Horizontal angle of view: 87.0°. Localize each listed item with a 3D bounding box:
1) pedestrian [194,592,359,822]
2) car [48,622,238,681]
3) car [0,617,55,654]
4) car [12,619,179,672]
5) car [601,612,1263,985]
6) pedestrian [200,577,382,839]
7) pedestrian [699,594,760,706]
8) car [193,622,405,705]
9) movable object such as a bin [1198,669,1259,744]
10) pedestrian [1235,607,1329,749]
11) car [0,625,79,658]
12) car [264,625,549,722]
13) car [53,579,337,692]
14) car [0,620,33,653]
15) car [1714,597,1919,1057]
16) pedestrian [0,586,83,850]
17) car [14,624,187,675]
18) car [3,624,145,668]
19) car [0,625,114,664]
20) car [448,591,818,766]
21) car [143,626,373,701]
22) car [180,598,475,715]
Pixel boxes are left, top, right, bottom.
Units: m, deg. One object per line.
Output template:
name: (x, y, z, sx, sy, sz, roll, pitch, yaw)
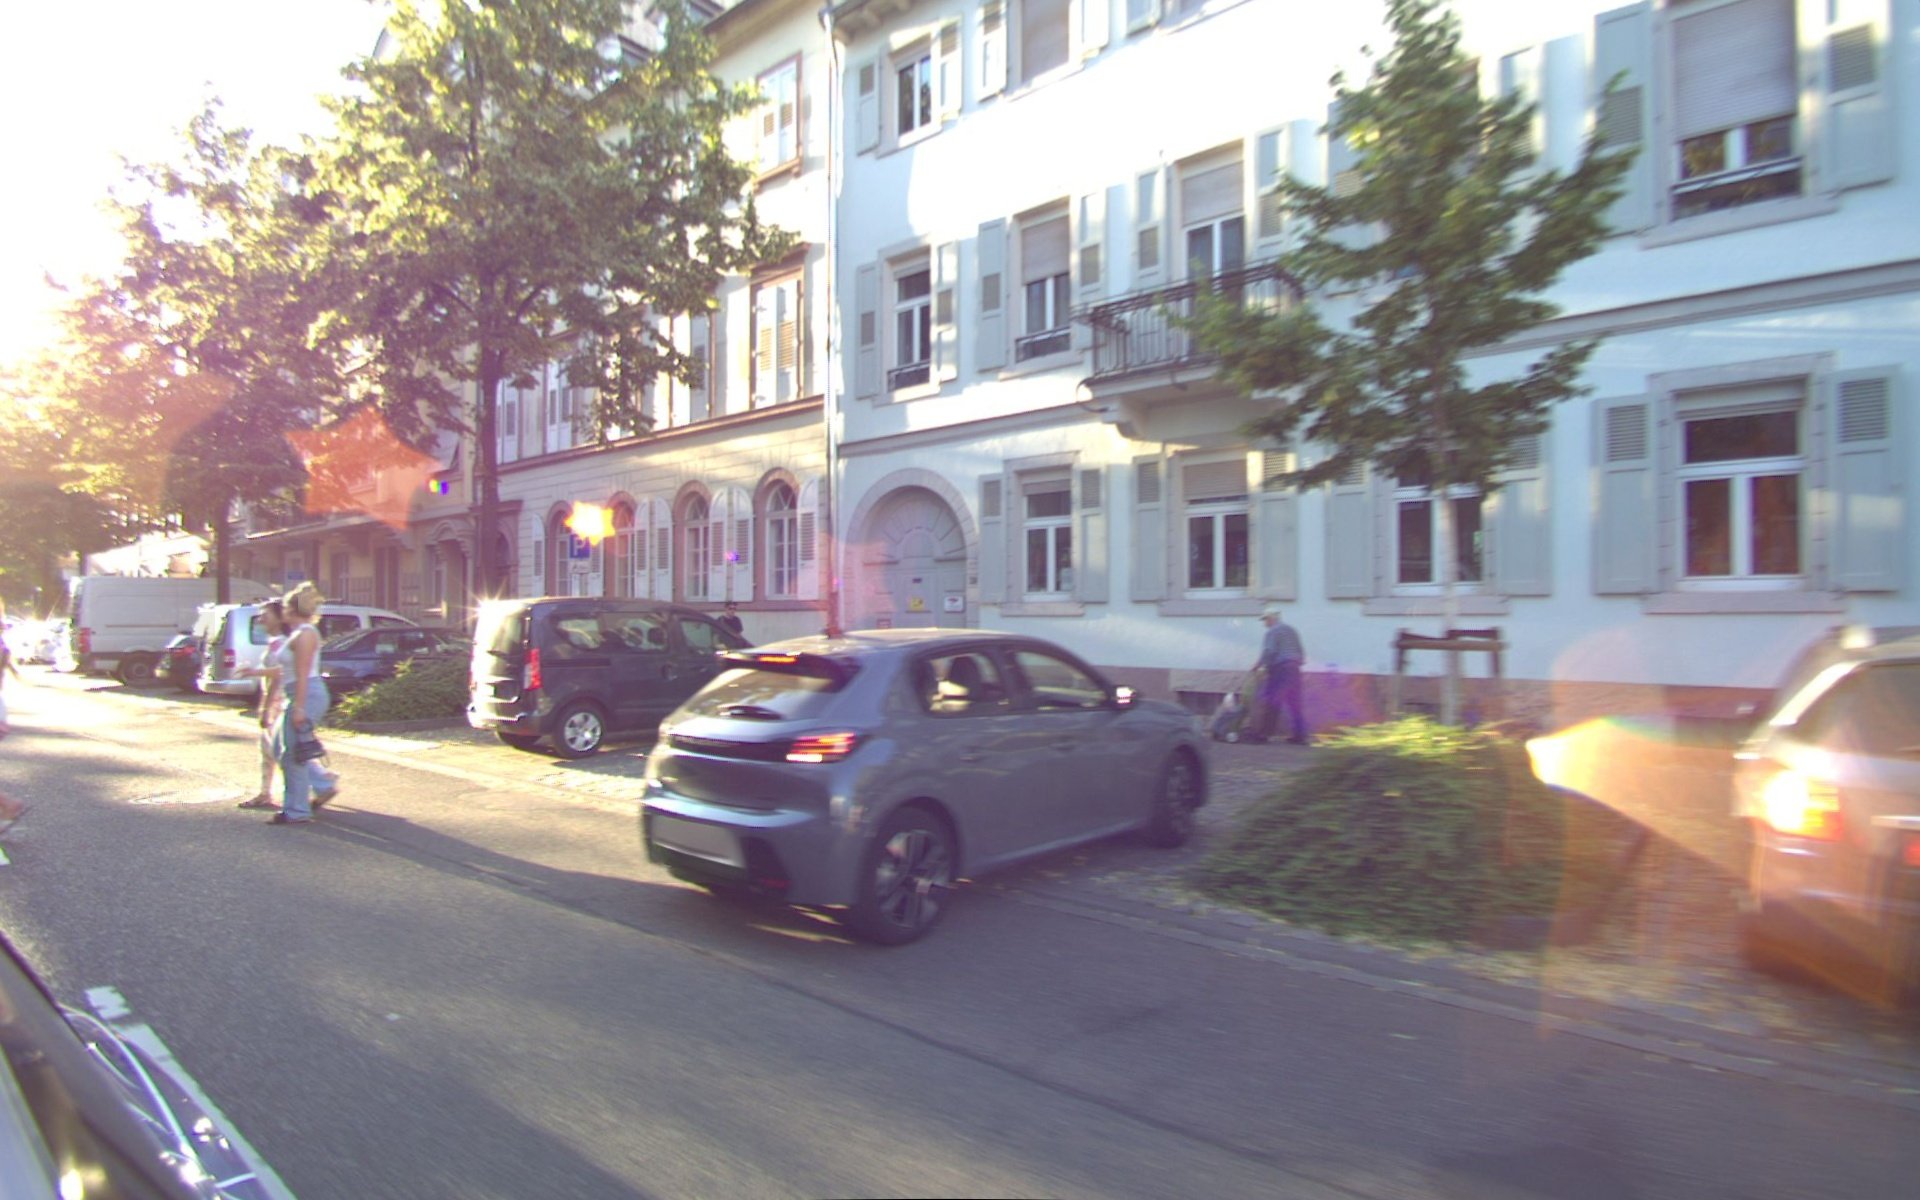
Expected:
pedestrian: (-5.476, 0.812, 8.127, 0.762, 1.708, 0.912, -2, -2, 41)
car: (-24.407, 1.495, 30.345, 1.791, 1.518, 4.170, -2, 0, 40)
car: (-49.664, 1.862, 51.915, 2.052, 1.825, 4.658, -2, 0, 41)
car: (-30.588, 1.558, 35.930, 1.890, 1.663, 4.192, -2, 0, 36)
car: (0.132, 0.826, 6.076, 1.685, 1.472, 4.015, -2, -2, 42)
pedestrian: (-4.928, 0.755, 7.472, 0.762, 1.773, 0.912, -2, -3, 41)
pedestrian: (-3.849, 0.819, 16.879, 0.779, 1.815, 0.655, -1, -2, 41)
car: (-13.716, 1.258, 21.132, 1.710, 1.478, 3.338, -2, 0, 37)
movable object such as a bin: (3.122, 1.227, 11.771, 0.533, 0.803, 0.443, -2, -1, 40)
pedestrian: (3.647, 0.855, 11.461, 0.796, 1.533, 0.689, -2, -1, 40)
car: (-43.745, 1.922, 46.781, 1.821, 1.434, 4.338, -2, 0, 40)
car: (-9.547, 1.190, 17.711, 1.593, 1.450, 4.108, -2, -1, 42)
car: (-19.795, 0.813, 26.451, 2.170, 2.641, 5.601, -2, 0, 40)
car: (-54.777, 2.032, 56.319, 1.945, 1.796, 4.510, -1, -1, 39)
car: (4.755, 0.755, 4.535, 1.961, 1.495, 3.996, -2, -2, 40)
pedestrian: (-6.334, 0.743, 6.582, 0.827, 1.651, 0.818, -2, -2, 41)
car: (-28.607, 1.603, 33.776, 1.968, 1.494, 4.144, -2, 0, 39)
car: (-34.224, 1.742, 39.185, 1.694, 1.459, 3.878, -2, 0, 38)
car: (-37.915, 1.837, 42.274, 1.789, 1.459, 3.744, -2, 0, 42)
car: (-3.937, 0.864, 12.708, 1.806, 1.820, 4.094, -2, -2, 42)
car: (-15.646, 1.358, 22.717, 1.748, 1.414, 3.948, 0, 0, 39)
car: (-11.924, 0.981, 19.307, 1.918, 1.968, 4.451, -2, -1, 42)
